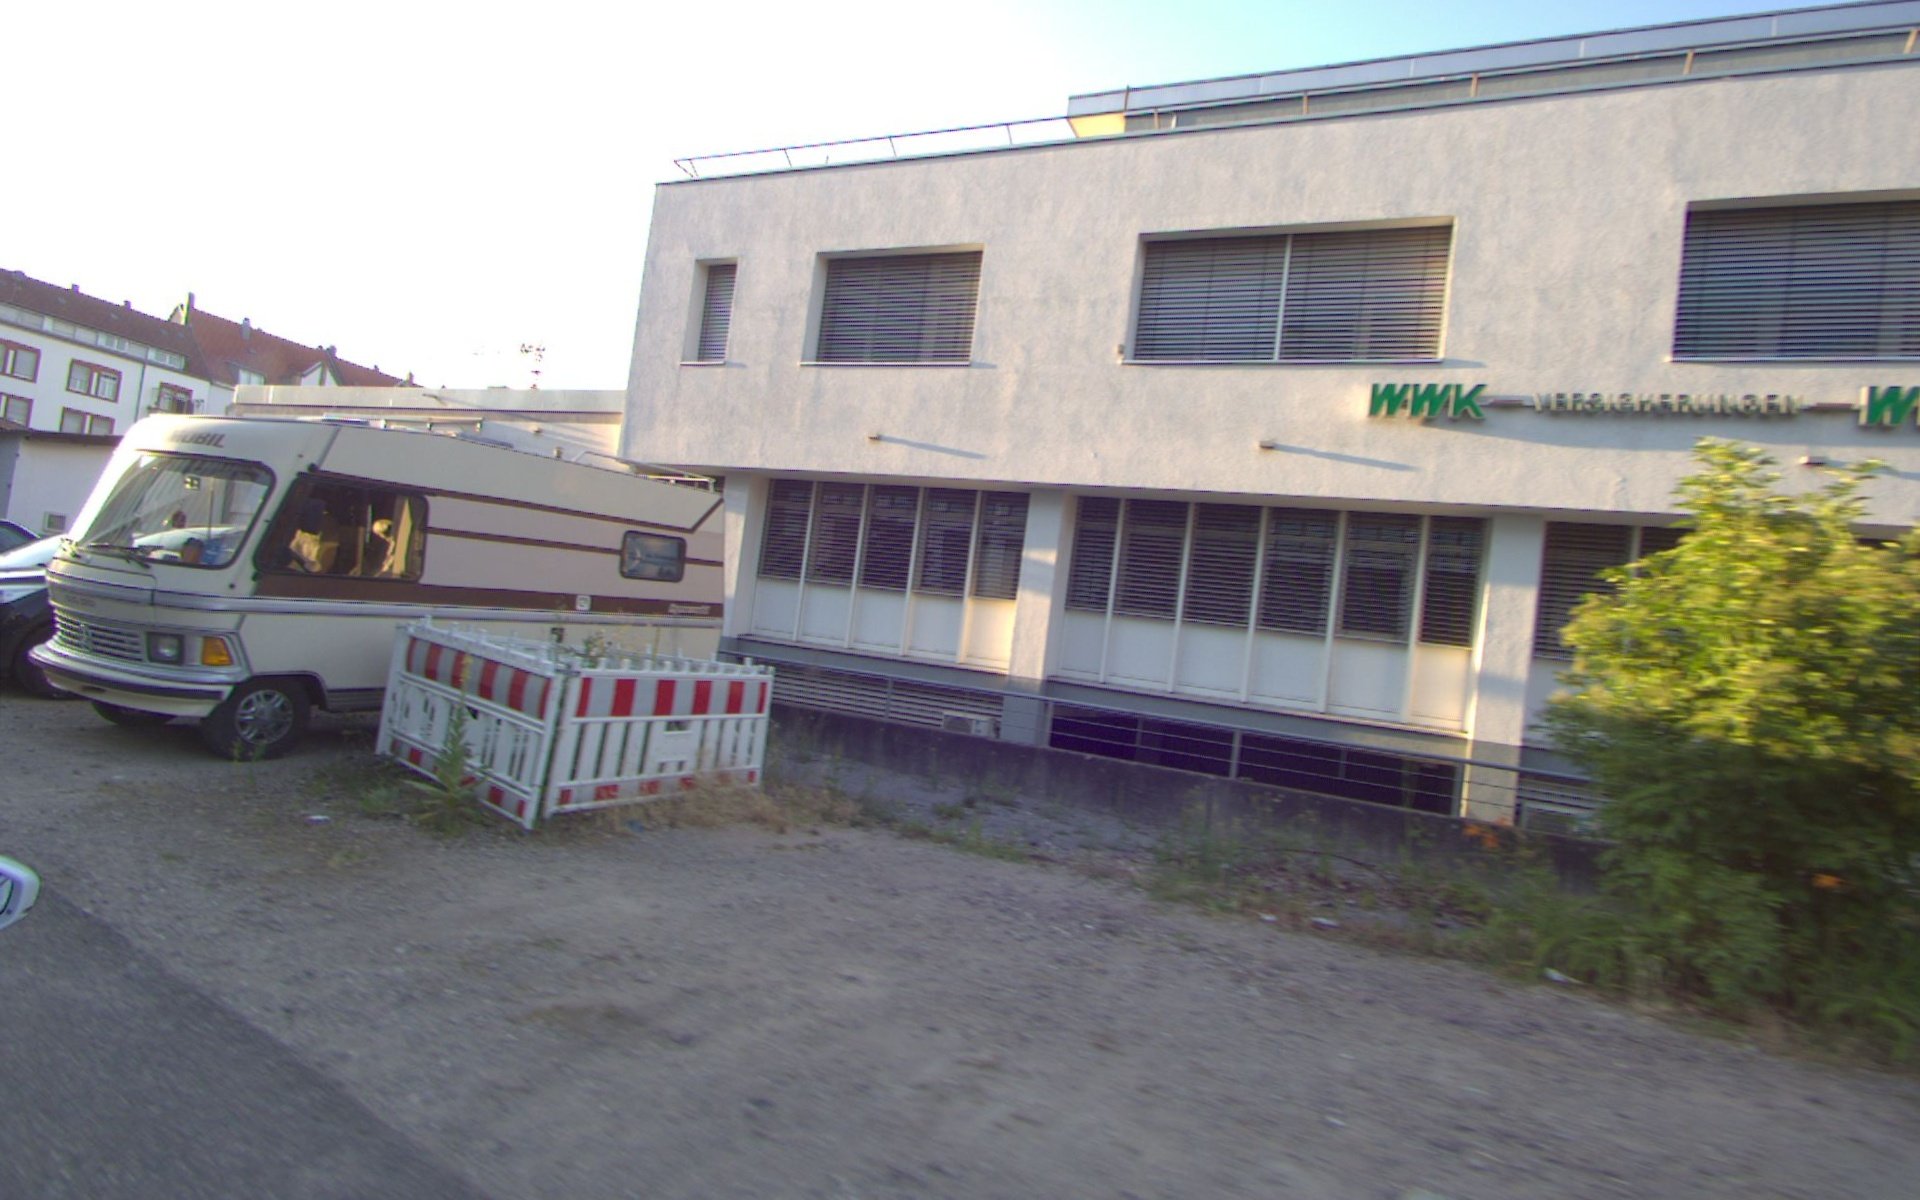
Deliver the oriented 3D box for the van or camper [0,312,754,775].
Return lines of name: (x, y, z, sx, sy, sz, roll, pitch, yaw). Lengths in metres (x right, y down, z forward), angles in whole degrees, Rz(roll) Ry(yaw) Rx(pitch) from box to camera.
van or camper: (-4.860, -0.203, 9.401, 2.444, 2.897, 5.796, 5, -2, 27)

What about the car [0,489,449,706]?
car: (-7.810, 0.063, 10.131, 1.935, 1.761, 4.248, 5, -2, 32)

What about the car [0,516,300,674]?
car: (-10.320, -0.064, 11.725, 1.681, 1.582, 4.017, 6, -2, 24)

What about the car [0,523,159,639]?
car: (-13.947, -0.380, 14.163, 1.682, 1.496, 3.715, 6, -2, 27)
